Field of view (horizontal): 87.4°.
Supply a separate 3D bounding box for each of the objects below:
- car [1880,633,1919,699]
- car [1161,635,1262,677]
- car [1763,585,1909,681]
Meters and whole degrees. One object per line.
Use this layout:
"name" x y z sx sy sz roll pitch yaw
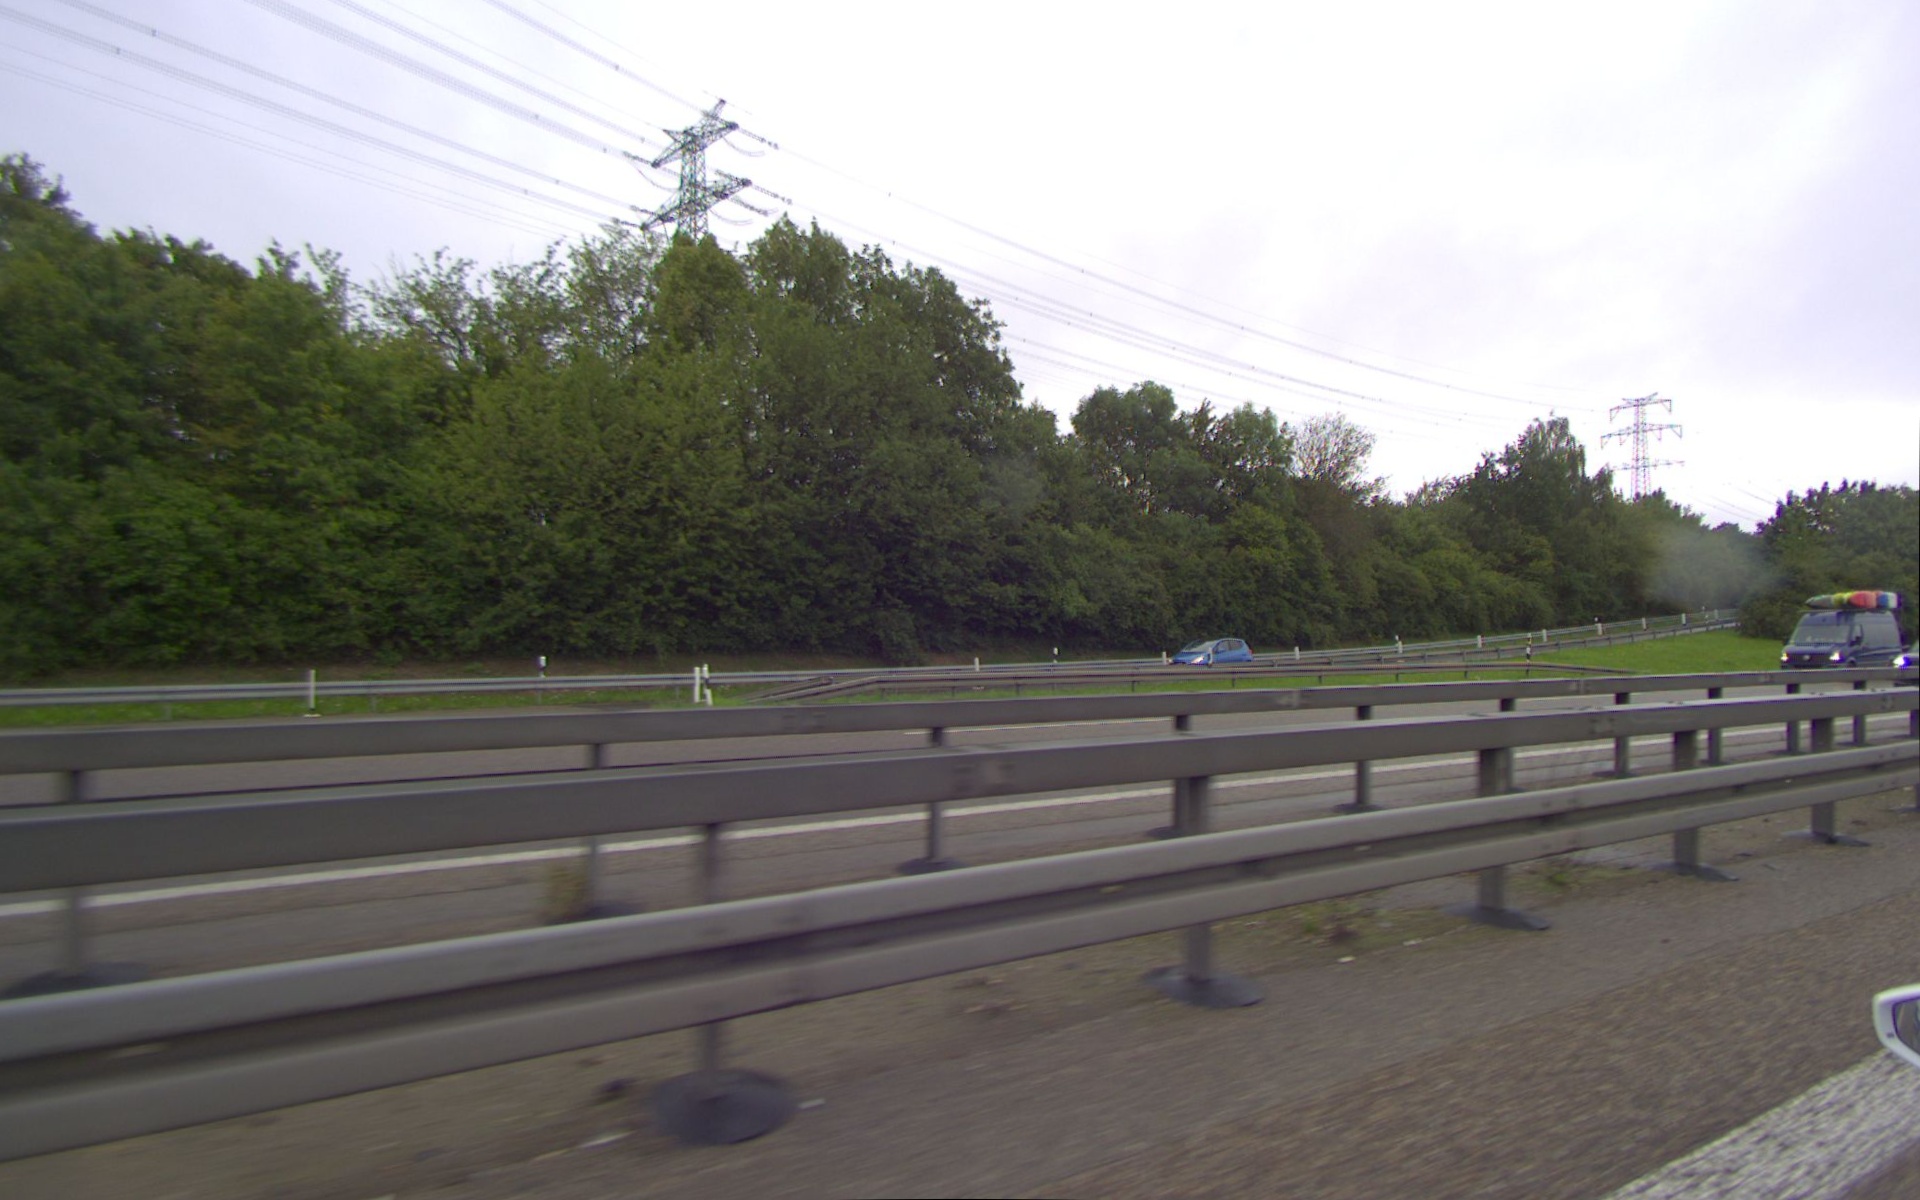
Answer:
"car" 26.277 1.693 26.295 4.734 1.677 1.915 1 -3 -31
"car" 10.109 2.212 40.294 3.966 1.563 1.952 1 -2 -39
"car" 32.820 1.246 37.585 6.103 3.371 2.244 1 -3 -31
